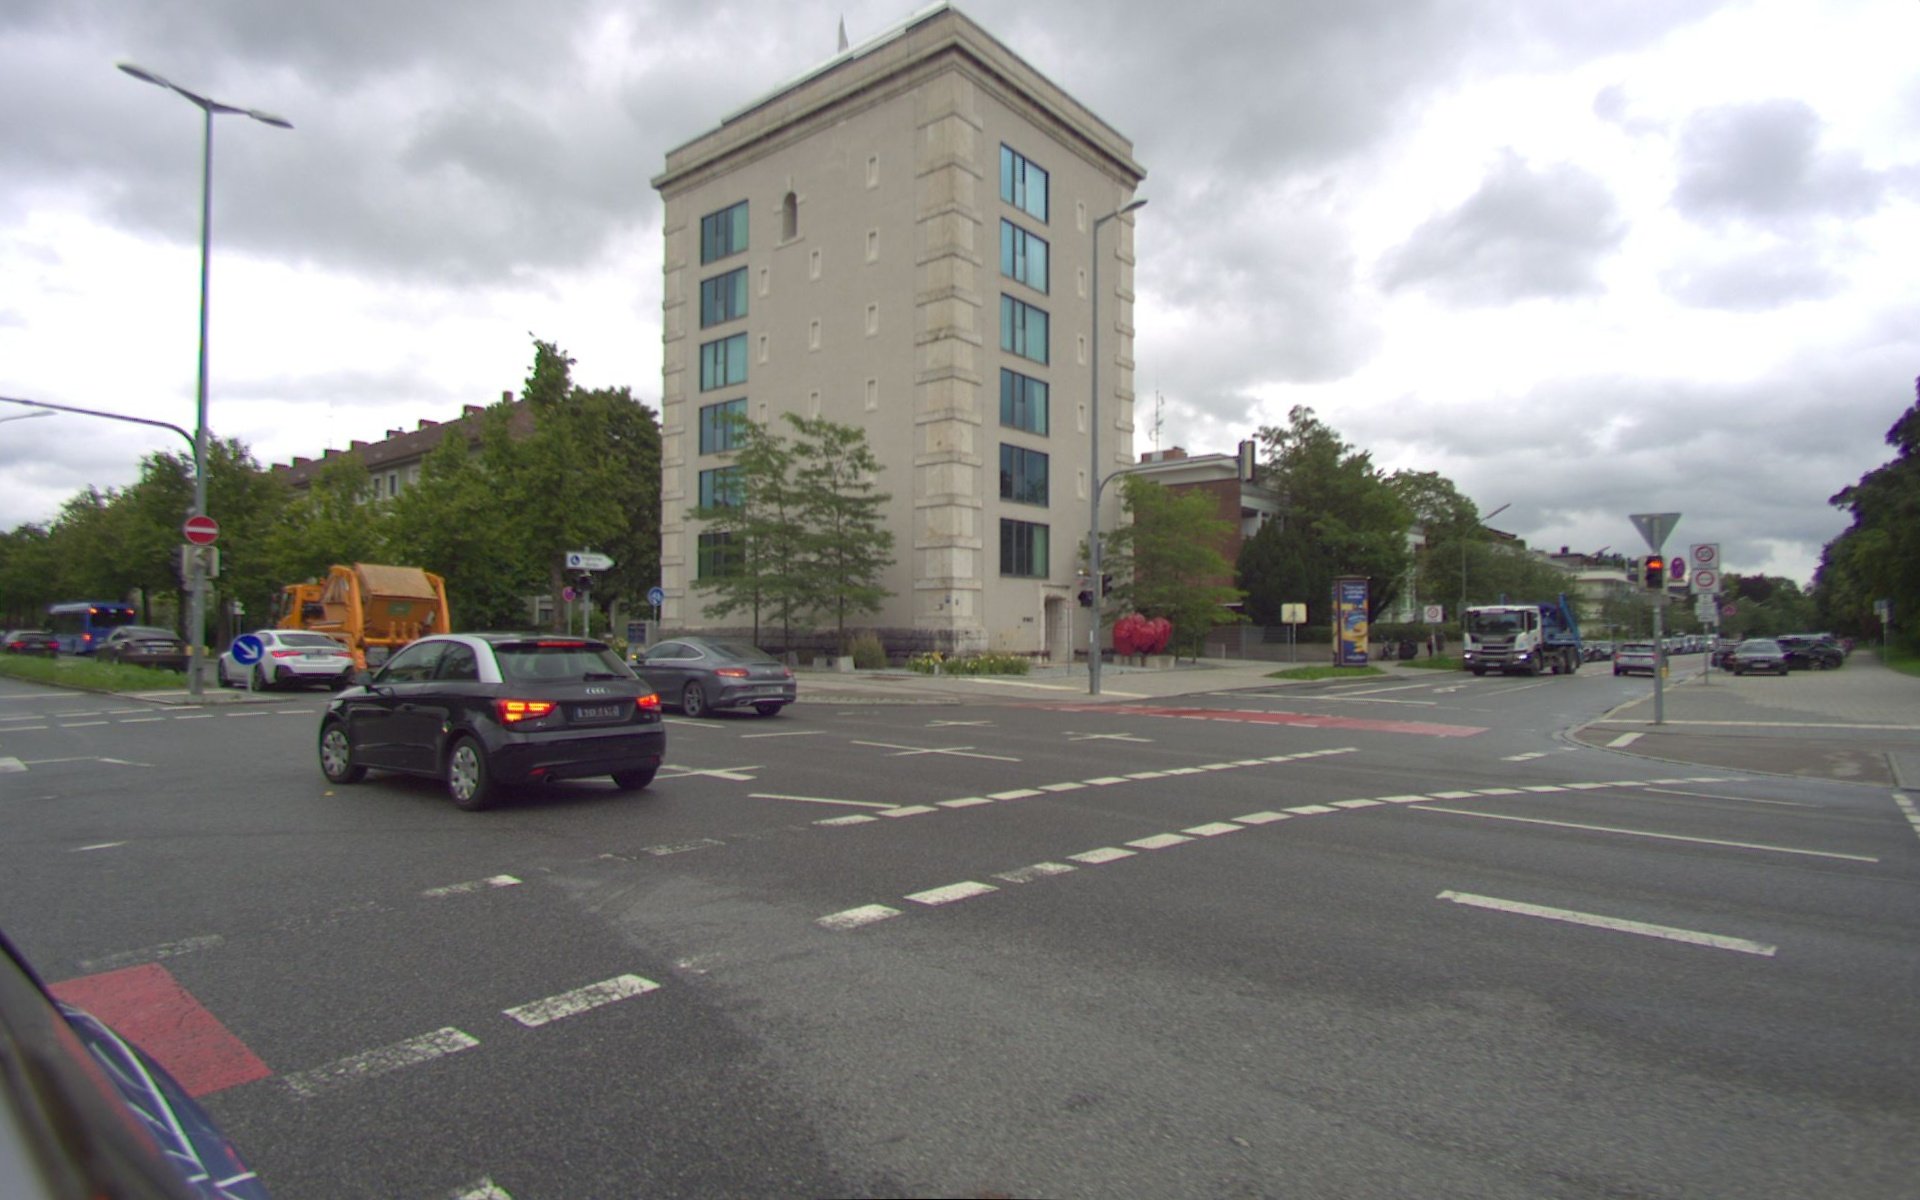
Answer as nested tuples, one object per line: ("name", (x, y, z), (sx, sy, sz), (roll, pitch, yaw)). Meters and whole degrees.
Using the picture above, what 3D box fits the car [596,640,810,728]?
("car", (-4.787, 1.468, 18.534), (4.214, 1.427, 1.705), (-2, -4, 42))

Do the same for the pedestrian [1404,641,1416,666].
("pedestrian", (25.962, 3.105, 58.338), (0.543, 1.425, 0.597), (-2, -2, 30))

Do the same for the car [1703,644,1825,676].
("car", (37.780, 2.821, 47.707), (4.198, 1.427, 1.907), (-1, -2, 30))

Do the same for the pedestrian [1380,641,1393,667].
("pedestrian", (23.850, 2.998, 56.574), (0.545, 1.425, 0.595), (0, -2, 37))

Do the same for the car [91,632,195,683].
("car", (-27.462, 1.908, 33.968), (4.747, 1.553, 1.842), (-2, -6, 41))

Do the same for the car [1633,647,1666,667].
("car", (60.150, 4.958, 88.243), (1.925, 1.603, 4.158), (-2, -3, 40))

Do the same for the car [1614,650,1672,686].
("car", (29.884, 2.962, 44.234), (1.928, 1.473, 4.312), (-2, -4, 36))

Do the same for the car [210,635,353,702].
("car", (-16.771, 1.631, 24.927), (4.739, 1.498, 1.709), (-2, -3, 41))

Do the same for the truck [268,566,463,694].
("truck", (-17.775, 0.910, 30.062), (7.261, 3.382, 2.752), (-2, -3, 41))

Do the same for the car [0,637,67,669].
("car", (-44.790, 2.541, 48.722), (4.894, 1.473, 1.907), (-2, -5, 40))

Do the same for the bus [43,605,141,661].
("bus", (-57.000, 2.201, 66.305), (12.037, 3.369, 2.718), (-2, -4, 40))

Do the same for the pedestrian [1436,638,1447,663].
("pedestrian", (27.819, 2.901, 58.468), (0.543, 1.425, 0.597), (-2, -2, 30))

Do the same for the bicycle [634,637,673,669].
("bicycle", (-11.855, 2.047, 39.080), (1.825, 1.190, 0.539), (-2, -3, 40))

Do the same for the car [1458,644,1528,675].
("car", (25.847, 2.843, 49.026), (1.927, 1.427, 4.154), (-2, -3, 44))

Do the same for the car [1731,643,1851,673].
("car", (41.112, 2.861, 50.219), (4.191, 1.427, 1.910), (-1, -2, 25))

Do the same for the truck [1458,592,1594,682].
("truck", (24.366, 1.570, 43.383), (7.704, 3.515, 2.775), (2, -3, -43))

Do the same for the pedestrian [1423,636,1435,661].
("pedestrian", (27.384, 2.843, 59.073), (0.543, 1.425, 0.597), (-2, -2, 30))

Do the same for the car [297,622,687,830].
("car", (-4.315, 0.979, 9.131), (3.775, 1.498, 1.624), (-2, -3, 37))

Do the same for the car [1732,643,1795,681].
("car", (33.371, 2.530, 41.991), (1.843, 1.427, 4.158), (-2, -3, 41))
